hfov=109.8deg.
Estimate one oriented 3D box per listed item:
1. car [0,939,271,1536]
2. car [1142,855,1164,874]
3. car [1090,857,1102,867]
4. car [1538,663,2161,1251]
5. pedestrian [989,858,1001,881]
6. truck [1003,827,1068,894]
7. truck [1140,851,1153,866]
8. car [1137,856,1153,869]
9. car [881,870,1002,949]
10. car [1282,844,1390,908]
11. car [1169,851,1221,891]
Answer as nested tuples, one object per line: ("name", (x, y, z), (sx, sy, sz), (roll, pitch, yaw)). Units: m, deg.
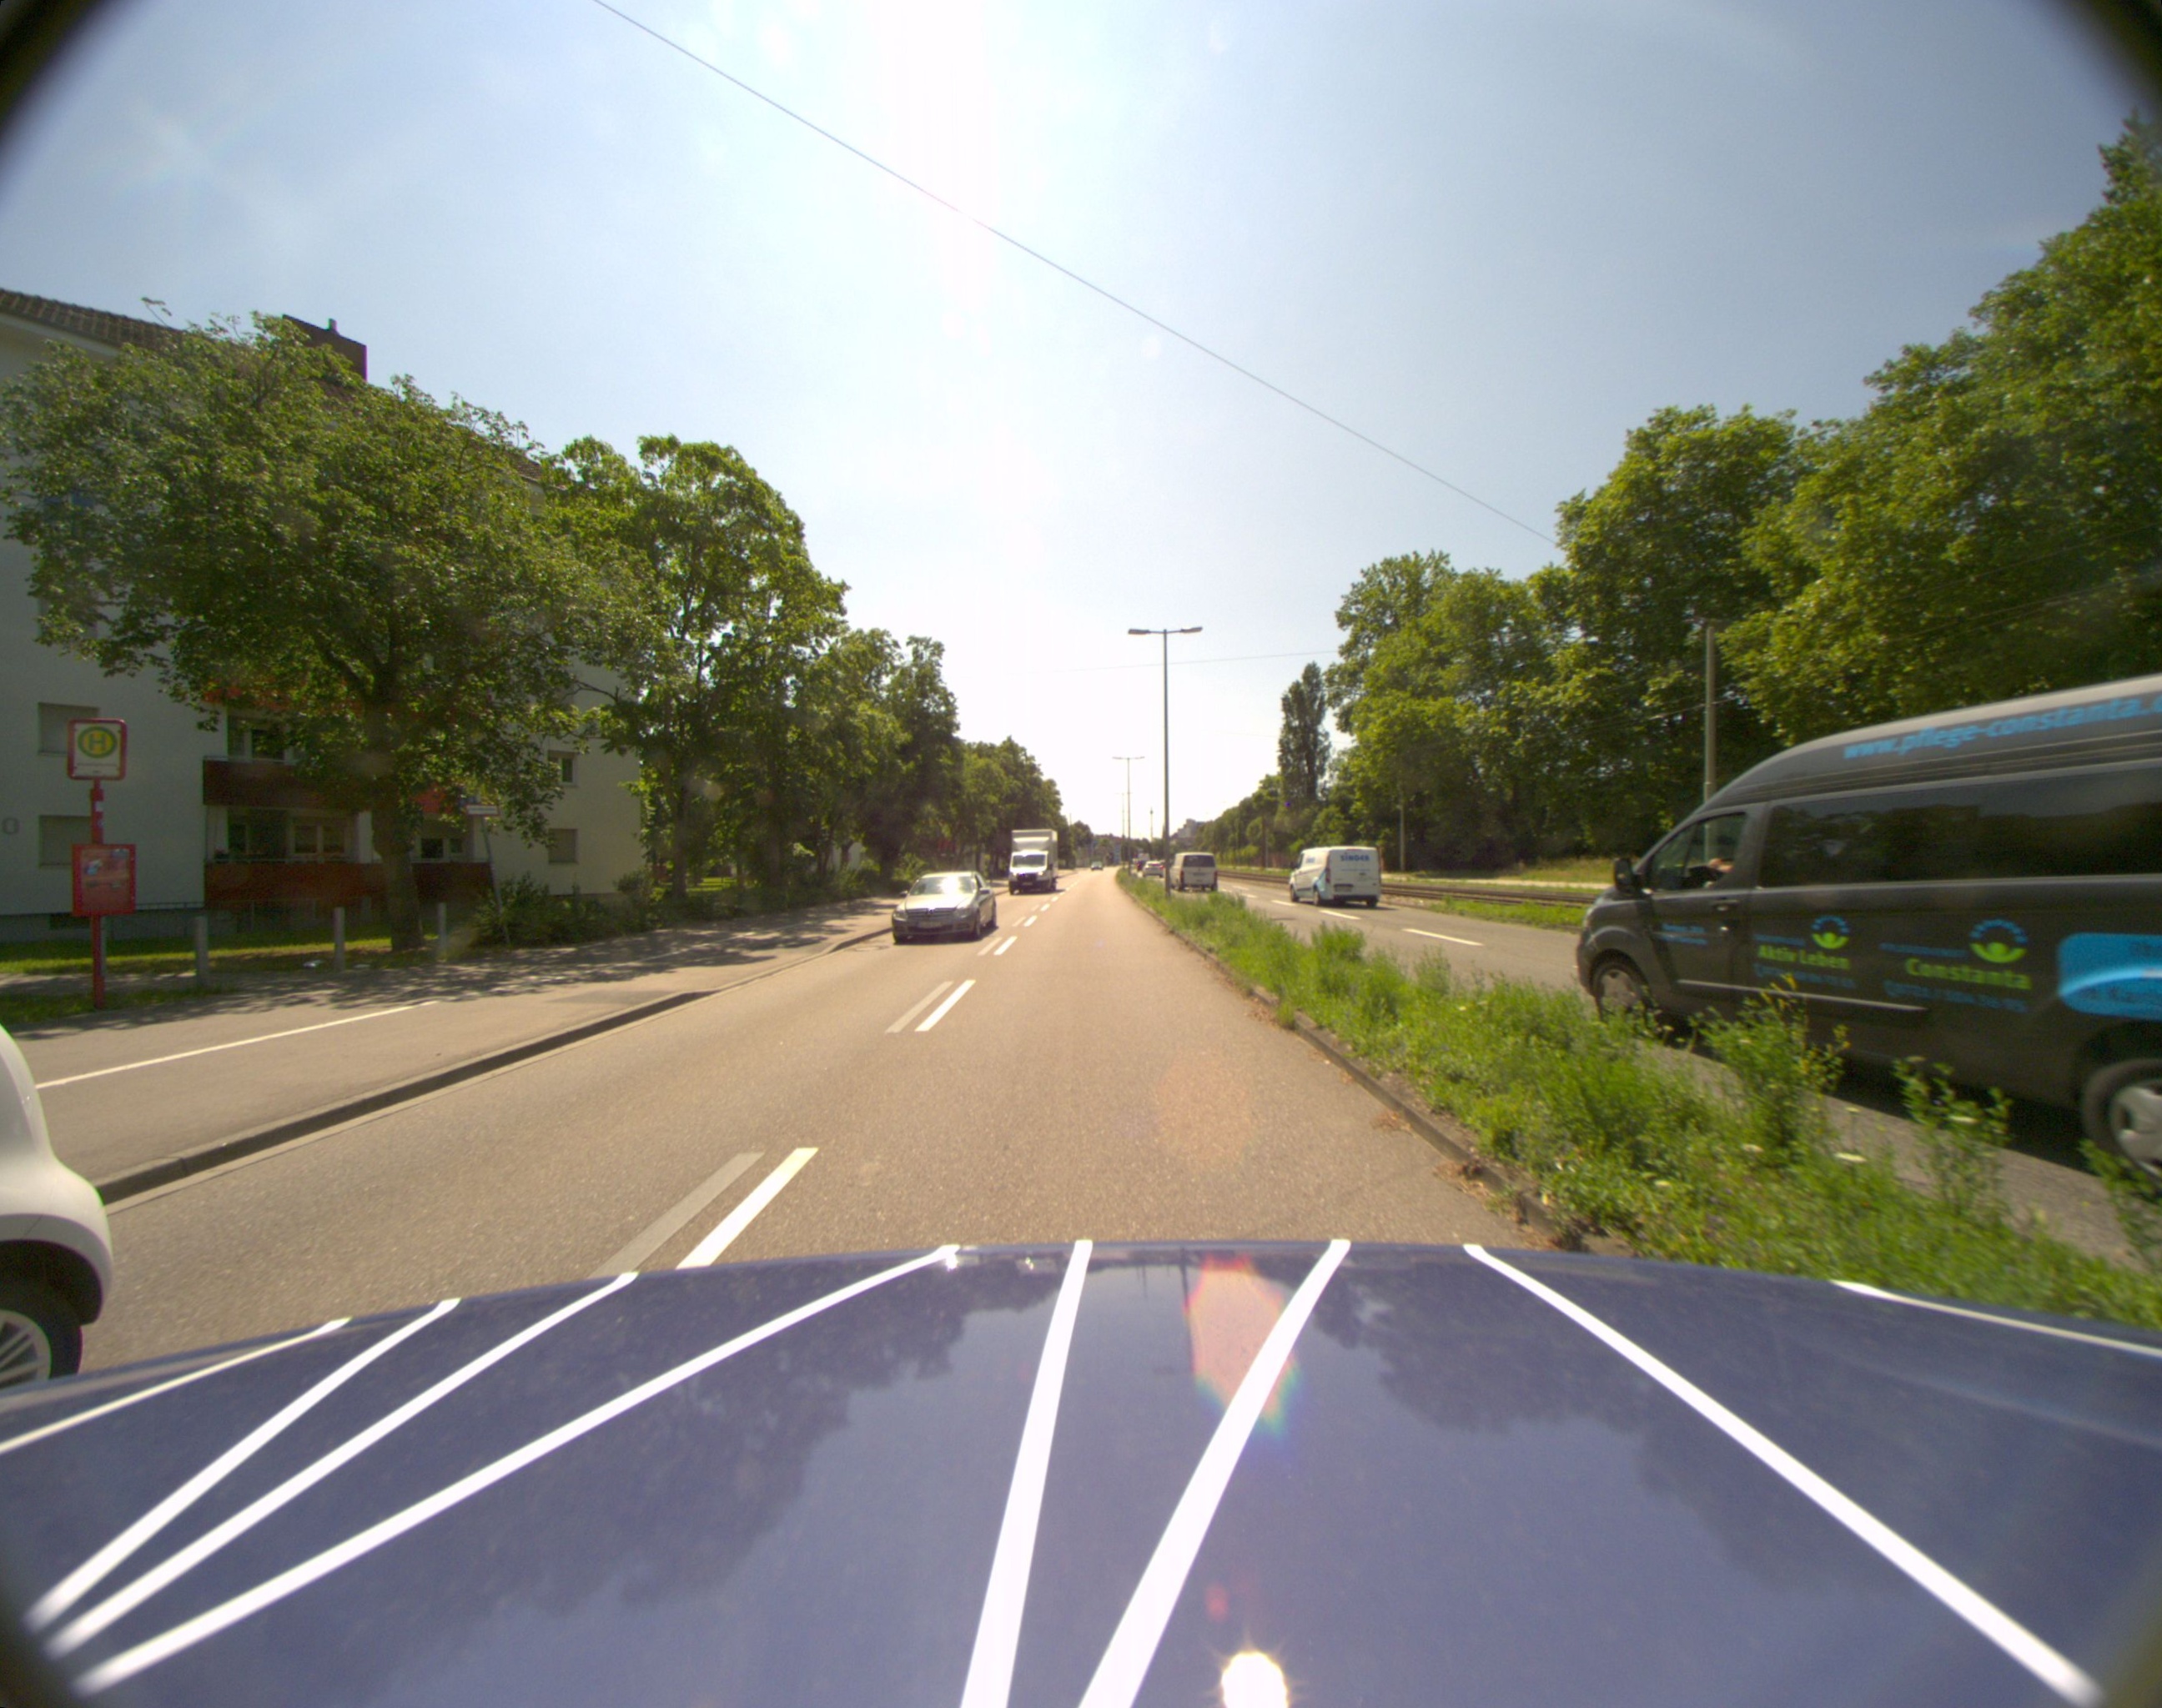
("car", (-3.609, 1.034, 0.630), (1.663, 1.441, 3.855), (-2, 0, 1))
("car", (6.518, 0.939, 68.943), (1.834, 1.728, 4.039), (0, 0, 3))
("car", (2.525, 1.377, 127.902), (1.829, 1.556, 4.000), (-1, 0, 0))
("car", (5.305, 0.420, 4.435), (1.999, 2.352, 5.372), (0, 0, -1))
("pedestrian", (-6.422, 1.146, 56.705), (0.670, 1.634, 0.856), (-1, 1, 2))
("truck", (-2.311, 0.309, 41.349), (2.293, 3.259, 8.314), (-1, 0, 5))
("truck", (11.597, 0.816, 134.670), (2.086, 2.732, 5.548), (0, 0, 3))
("car", (8.531, 1.074, 101.972), (1.833, 1.703, 4.794), (0, 0, 1))
("car", (-2.998, 1.153, 17.200), (1.903, 1.451, 3.971), (-2, -1, 1))
("car", (8.660, 0.709, 26.367), (1.999, 2.001, 5.030), (0, 0, -1))
("car", (5.687, 0.813, 38.509), (1.834, 1.895, 5.566), (0, 0, 1))
